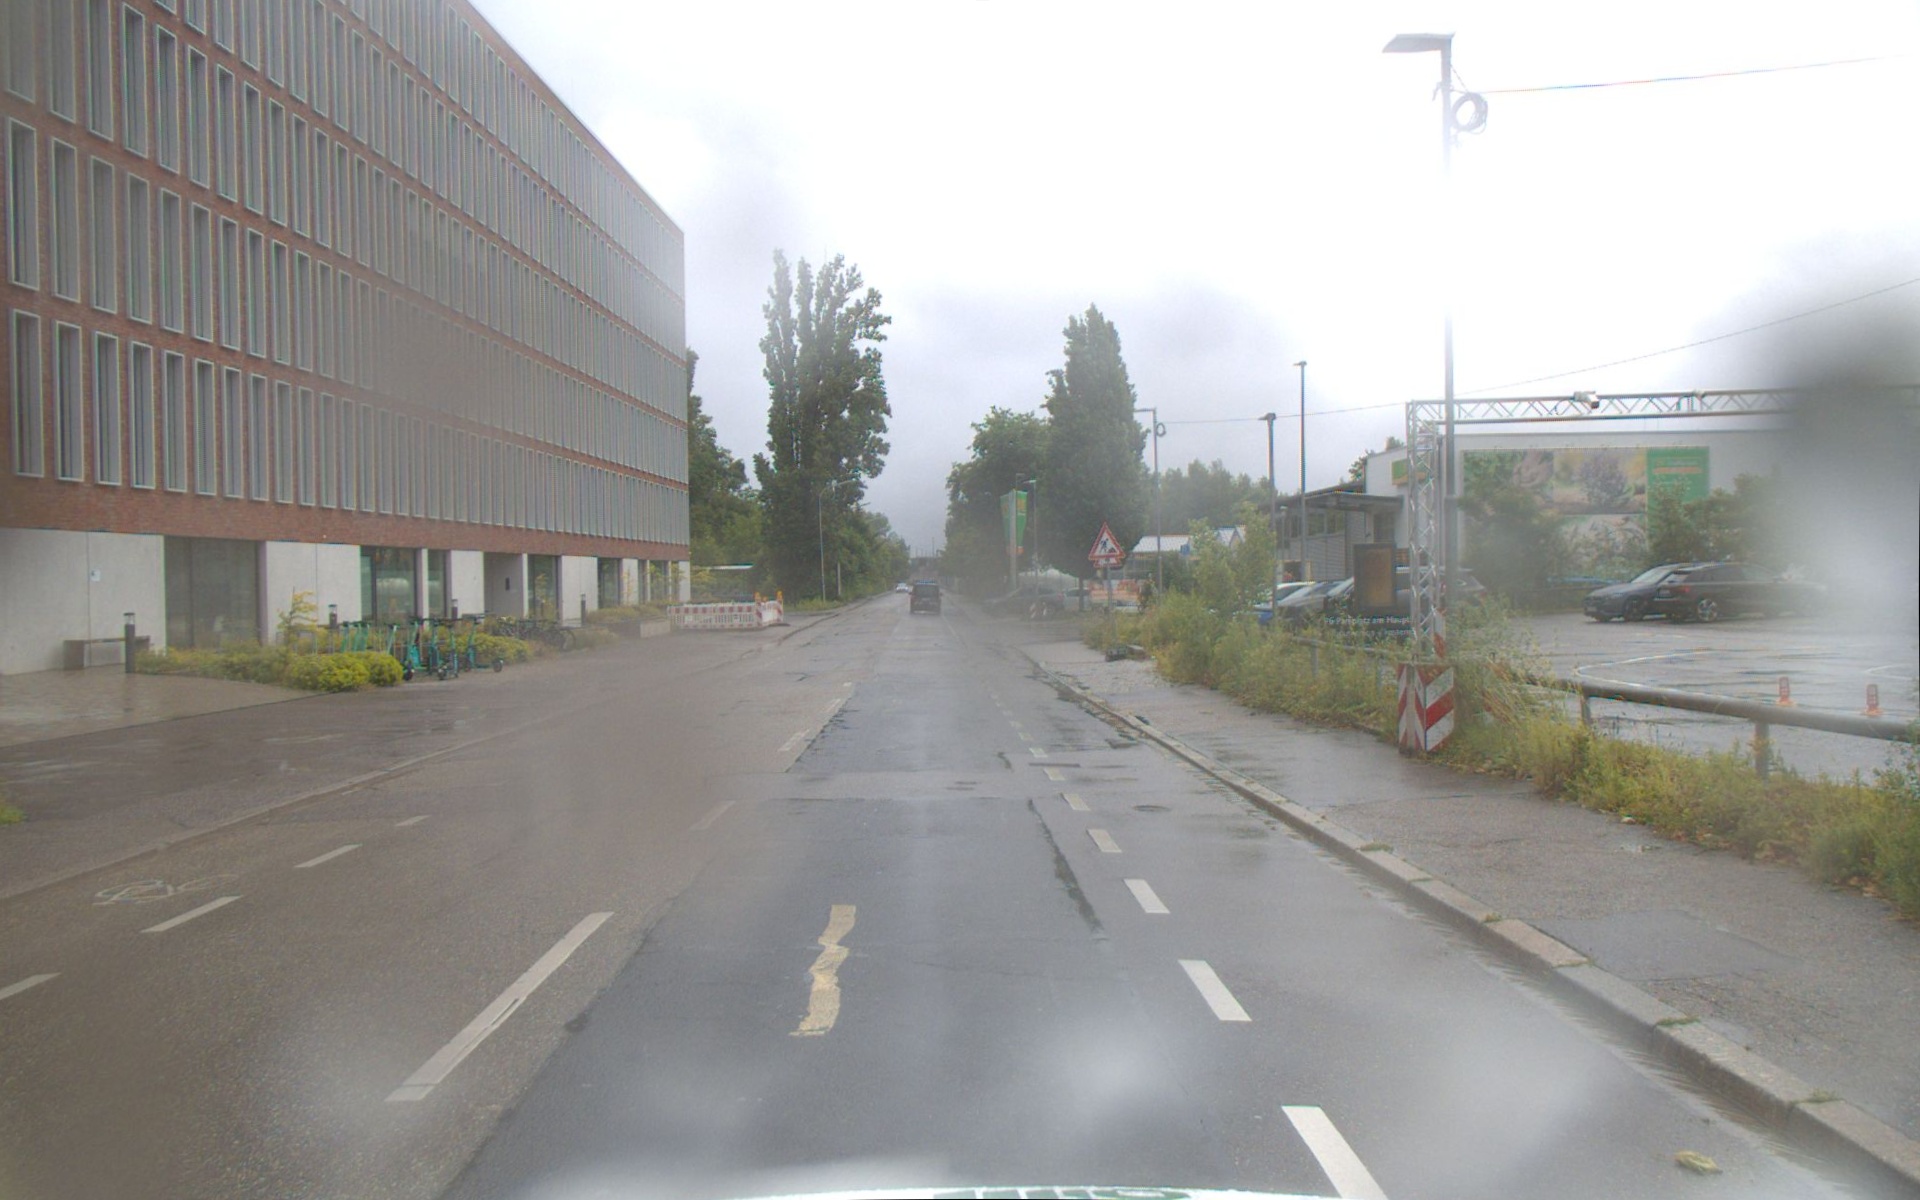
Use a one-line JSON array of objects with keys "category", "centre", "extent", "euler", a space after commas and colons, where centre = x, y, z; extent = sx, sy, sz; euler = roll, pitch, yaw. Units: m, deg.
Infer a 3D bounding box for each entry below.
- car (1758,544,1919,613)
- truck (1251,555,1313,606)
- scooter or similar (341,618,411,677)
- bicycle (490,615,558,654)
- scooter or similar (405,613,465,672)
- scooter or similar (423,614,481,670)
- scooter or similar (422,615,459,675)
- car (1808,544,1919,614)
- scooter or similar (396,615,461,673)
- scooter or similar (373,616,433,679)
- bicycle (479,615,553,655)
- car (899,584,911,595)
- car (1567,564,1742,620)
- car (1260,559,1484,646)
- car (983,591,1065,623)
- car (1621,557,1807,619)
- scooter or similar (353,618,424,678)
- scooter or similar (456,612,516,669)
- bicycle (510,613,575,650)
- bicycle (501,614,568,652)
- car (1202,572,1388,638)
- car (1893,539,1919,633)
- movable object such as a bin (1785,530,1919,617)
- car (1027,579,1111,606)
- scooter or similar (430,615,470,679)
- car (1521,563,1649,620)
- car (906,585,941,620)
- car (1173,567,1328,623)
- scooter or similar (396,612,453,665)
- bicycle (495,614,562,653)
[{"category": "car", "centre": [25.252, -0.611, 46.741], "extent": [4.354, 1.701, 2.042], "euler": [-3, -1, -4]}, {"category": "truck", "centre": [18.467, -1.152, 95.179], "extent": [2.253, 2.705, 7.418], "euler": [-2, 1, 2]}, {"category": "scooter or similar", "centre": [-12.415, 1.002, 35.181], "extent": [1.289, 1.198, 0.468], "euler": [-2, 0, 4]}, {"category": "bicycle", "centre": [-12.618, 0.988, 47.869], "extent": [1.822, 1.096, 0.544], "euler": [1, 0, -3]}, {"category": "scooter or similar", "centre": [-11.847, 0.951, 37.358], "extent": [0.459, 1.251, 1.201], "euler": [-1, 1, 41]}, {"category": "scooter or similar", "centre": [-11.725, 0.955, 38.184], "extent": [0.459, 1.229, 1.201], "euler": [-1, 1, 41]}, {"category": "scooter or similar", "centre": [-11.193, 0.949, 35.599], "extent": [0.461, 1.251, 1.308], "euler": [-2, 1, -29]}, {"category": "car", "centre": [25.316, -0.623, 44.078], "extent": [4.354, 1.701, 2.042], "euler": [-3, -1, -4]}, {"category": "scooter or similar", "centre": [-11.742, 0.963, 36.541], "extent": [1.294, 1.198, 0.466], "euler": [-2, 0, -13]}, {"category": "scooter or similar", "centre": [-11.346, 0.962, 33.688], "extent": [1.295, 1.251, 0.506], "euler": [-1, 1, 38]}, {"category": "bicycle", "centre": [-12.579, 0.998, 46.877], "extent": [1.909, 1.096, 0.620], "euler": [1, 0, -3]}, {"category": "car", "centre": [-8.447, -1.652, 252.974], "extent": [1.698, 1.475, 4.381], "euler": [-4, 1, 0]}, {"category": "car", "centre": [18.850, -0.201, 45.015], "extent": [3.905, 1.434, 2.000], "euler": [0, -1, 0]}, {"category": "car", "centre": [9.278, 0.075, 37.602], "extent": [4.583, 1.765, 2.129], "euler": [-2, -1, 3]}, {"category": "car", "centre": [3.353, 0.367, 86.894], "extent": [4.061, 1.596, 1.761], "euler": [-1, 0, -10]}, {"category": "car", "centre": [19.410, -0.293, 42.699], "extent": [3.905, 1.511, 2.000], "euler": [0, -1, 0]}, {"category": "scooter or similar", "centre": [-11.966, 1.008, 34.634], "extent": [1.289, 1.198, 0.468], "euler": [-2, 0, 4]}, {"category": "scooter or similar", "centre": [-10.583, 0.908, 36.916], "extent": [1.291, 1.251, 0.467], "euler": [-2, 0, 28]}, {"category": "bicycle", "centre": [-12.663, 0.957, 50.159], "extent": [1.822, 1.096, 0.544], "euler": [1, 0, -3]}, {"category": "bicycle", "centre": [-12.679, 0.975, 49.303], "extent": [1.822, 1.096, 0.544], "euler": [1, 0, -3]}, {"category": "car", "centre": [8.237, 0.129, 40.939], "extent": [4.208, 1.543, 1.819], "euler": [0, -1, -1]}, {"category": "car", "centre": [20.178, -0.281, 30.840], "extent": [4.531, 1.746, 2.016], "euler": [0, -1, -7]}, {"category": "movable object such as a bin", "centre": [32.269, -0.964, 59.794], "extent": [3.906, 3.045, 1.999], "euler": [-1, 1, -2]}, {"category": "car", "centre": [6.196, -0.439, 94.217], "extent": [4.609, 1.488, 1.890], "euler": [-1, 1, -3]}, {"category": "scooter or similar", "centre": [-10.575, 0.961, 34.307], "extent": [0.457, 1.251, 1.320], "euler": [-2, 1, -4]}, {"category": "car", "centre": [22.556, -0.325, 59.788], "extent": [3.907, 1.955, 1.831], "euler": [-1, 1, -2]}, {"category": "car", "centre": [-2.164, 0.117, 96.840], "extent": [1.953, 1.943, 4.199], "euler": [-2, 0, -2]}, {"category": "car", "centre": [8.272, -0.121, 47.389], "extent": [4.096, 1.536, 1.890], "euler": [0, -1, -1]}, {"category": "scooter or similar", "centre": [-12.972, 0.934, 40.052], "extent": [1.200, 1.229, 0.418], "euler": [-2, 0, 6]}, {"category": "bicycle", "centre": [-12.626, 0.975, 48.416], "extent": [1.822, 1.096, 0.544], "euler": [1, 0, -3]}]
